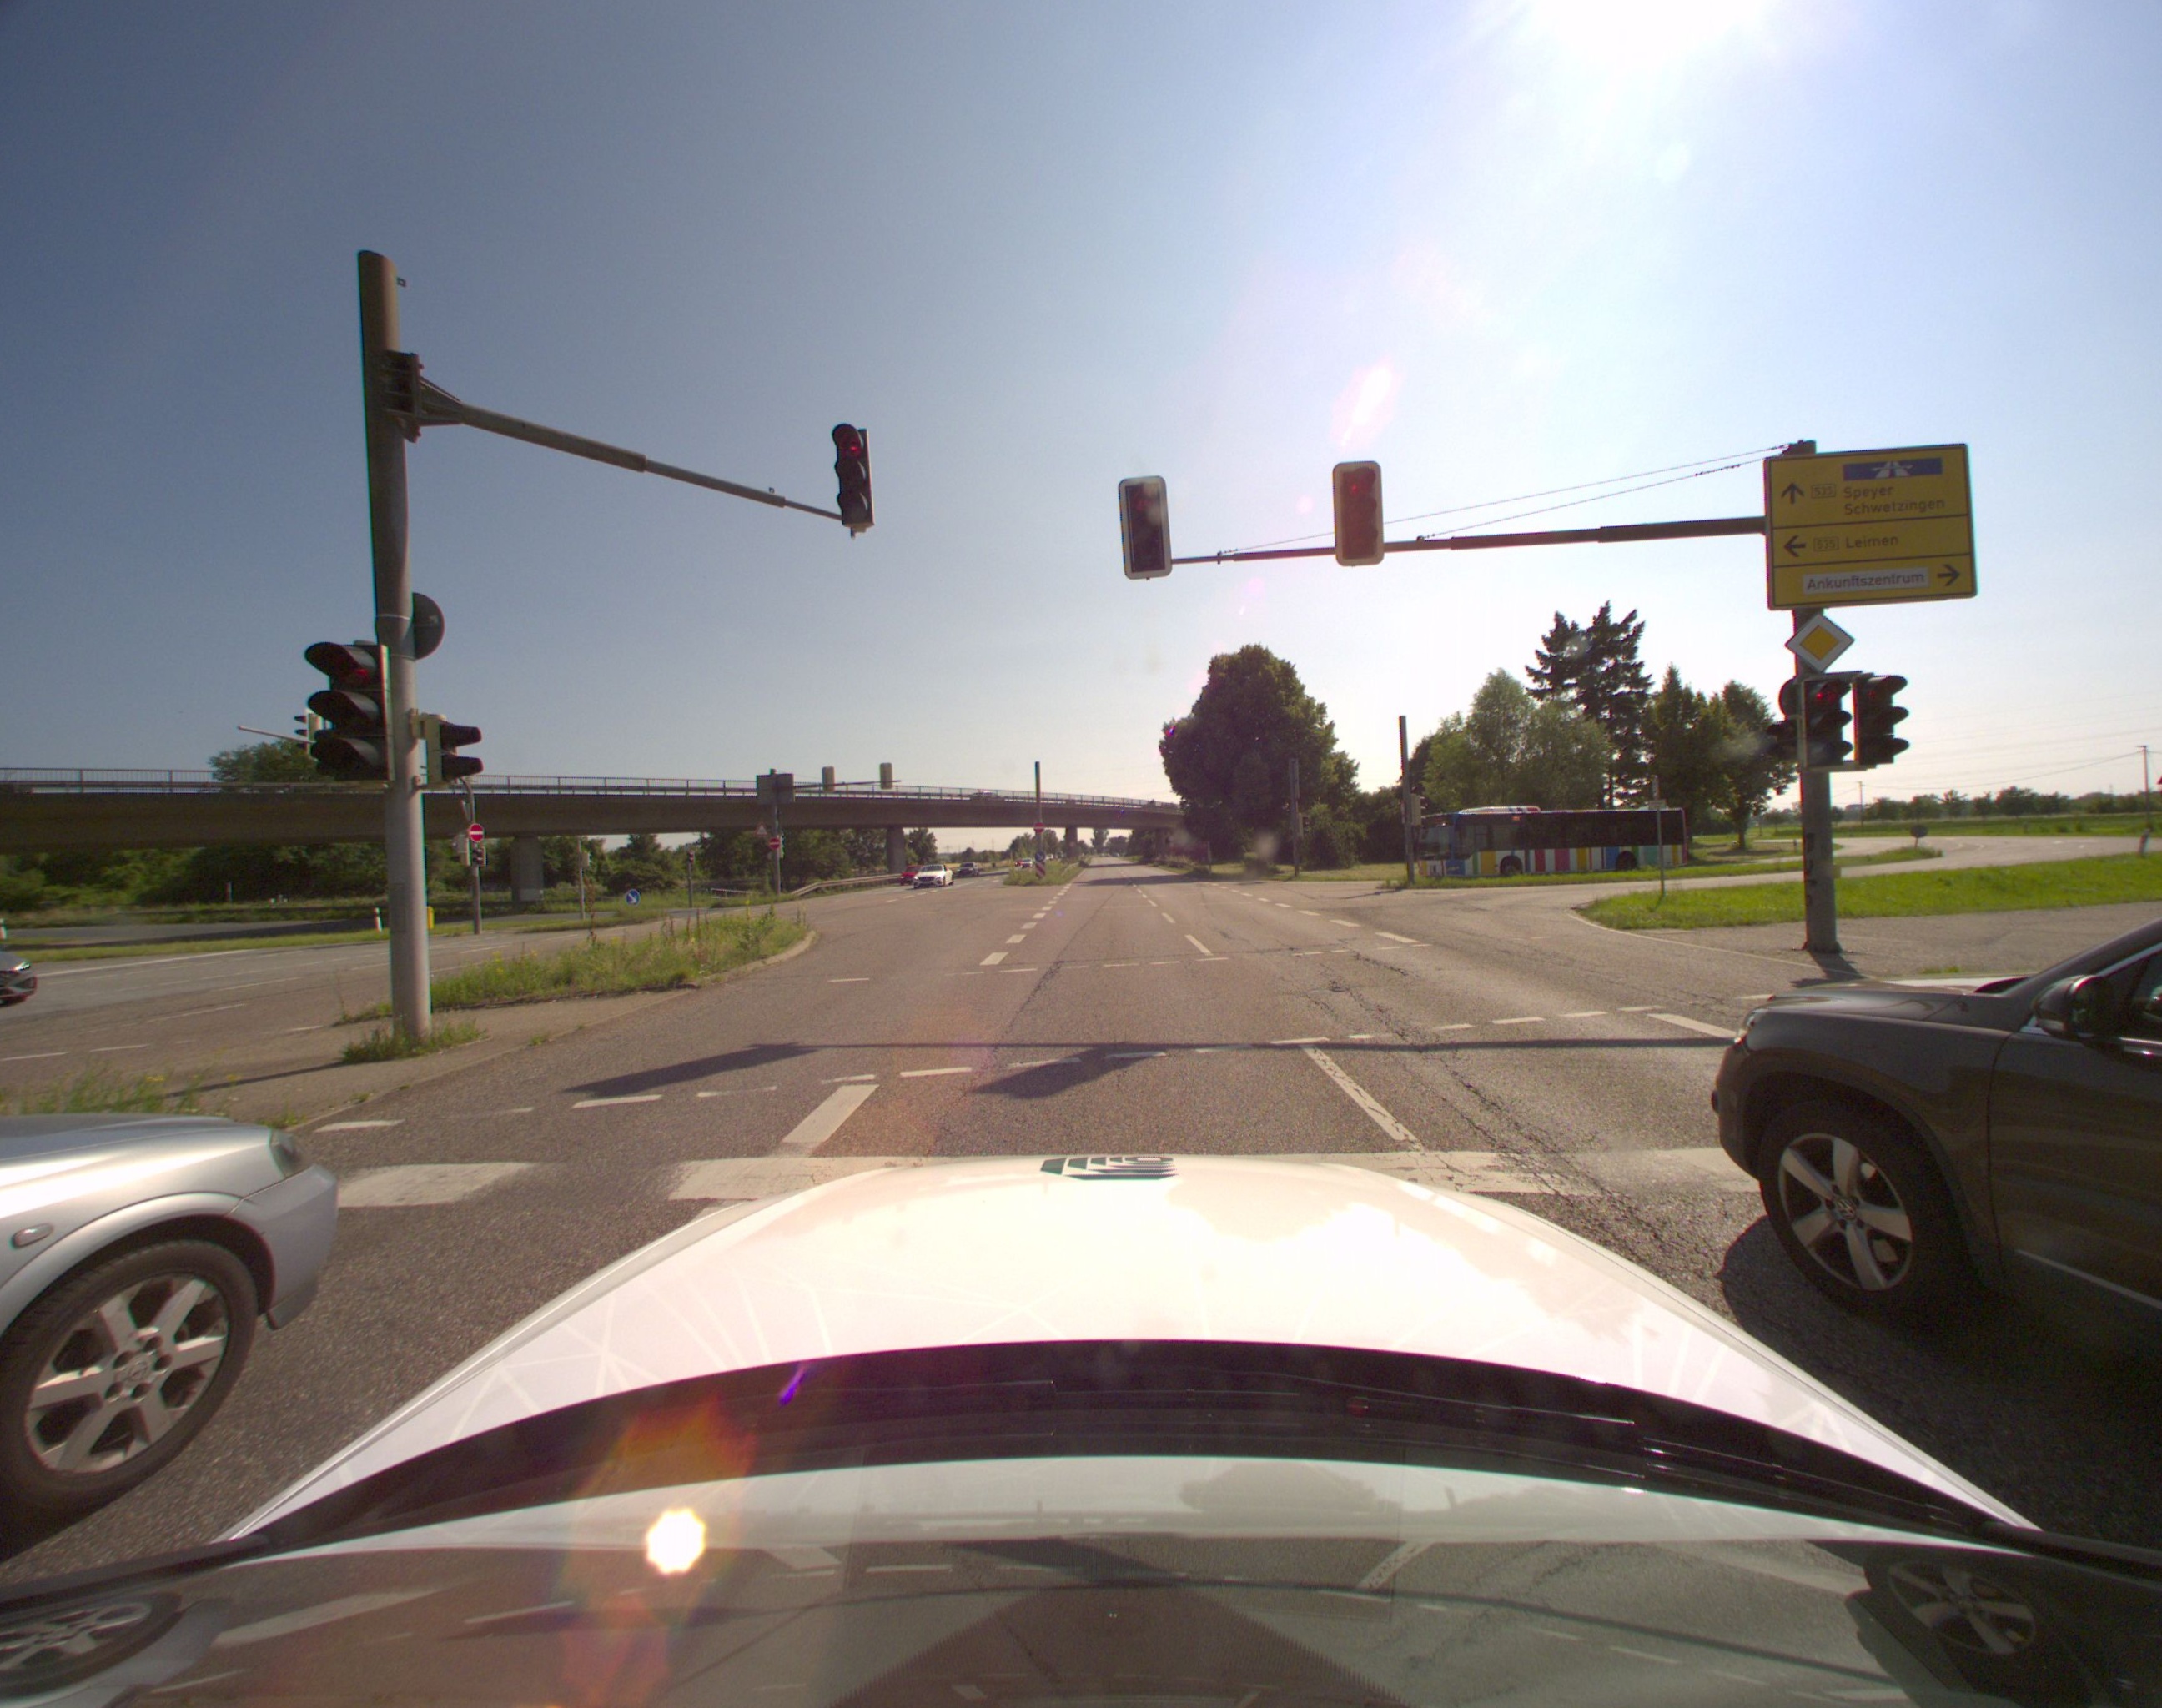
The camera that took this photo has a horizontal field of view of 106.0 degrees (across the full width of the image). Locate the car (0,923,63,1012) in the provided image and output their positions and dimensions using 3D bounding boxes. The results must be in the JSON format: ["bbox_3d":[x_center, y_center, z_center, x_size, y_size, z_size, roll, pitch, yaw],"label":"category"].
[{"bbox_3d":[-20.102,2.037,13.912,4.082,1.424,1.879,-3,0,15],"label":"car"}]

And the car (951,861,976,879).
[{"bbox_3d":[-11.890,1.594,82.403,1.784,1.628,4.000,-3,0,1],"label":"car"}]

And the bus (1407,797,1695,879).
[{"bbox_3d":[20.224,-0.712,35.033,11.954,2.877,2.928,-3,0,-14],"label":"bus"}]

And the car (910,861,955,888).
[{"bbox_3d":[-9.221,1.264,51.028,1.850,1.448,4.241,-5,0,1],"label":"car"}]

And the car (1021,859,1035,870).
[{"bbox_3d":[-7.537,1.488,116.213,1.551,1.540,4.001,-3,0,2],"label":"car"}]

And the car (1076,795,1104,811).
[{"bbox_3d":[1.033,-5.869,93.748,1.722,1.469,3.772,0,-1,27],"label":"car"}]

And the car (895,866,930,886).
[{"bbox_3d":[-12.709,1.636,61.730,1.634,1.385,4.241,-3,0,1],"label":"car"}]

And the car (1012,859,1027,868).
[{"bbox_3d":[-11.818,1.871,157.581,1.983,1.558,4.008,-3,0,7],"label":"car"}]

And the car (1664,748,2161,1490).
[{"bbox_3d":[3.271,0.582,1.315,1.749,1.655,4.147,-1,0,1],"label":"car"}]

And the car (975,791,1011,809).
[{"bbox_3d":[-8.430,-5.194,78.502,1.521,1.477,3.413,-4,-1,34],"label":"car"}]

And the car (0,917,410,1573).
[{"bbox_3d":[-3.227,0.921,0.745,1.667,1.335,4.100,-3,0,2],"label":"car"}]
